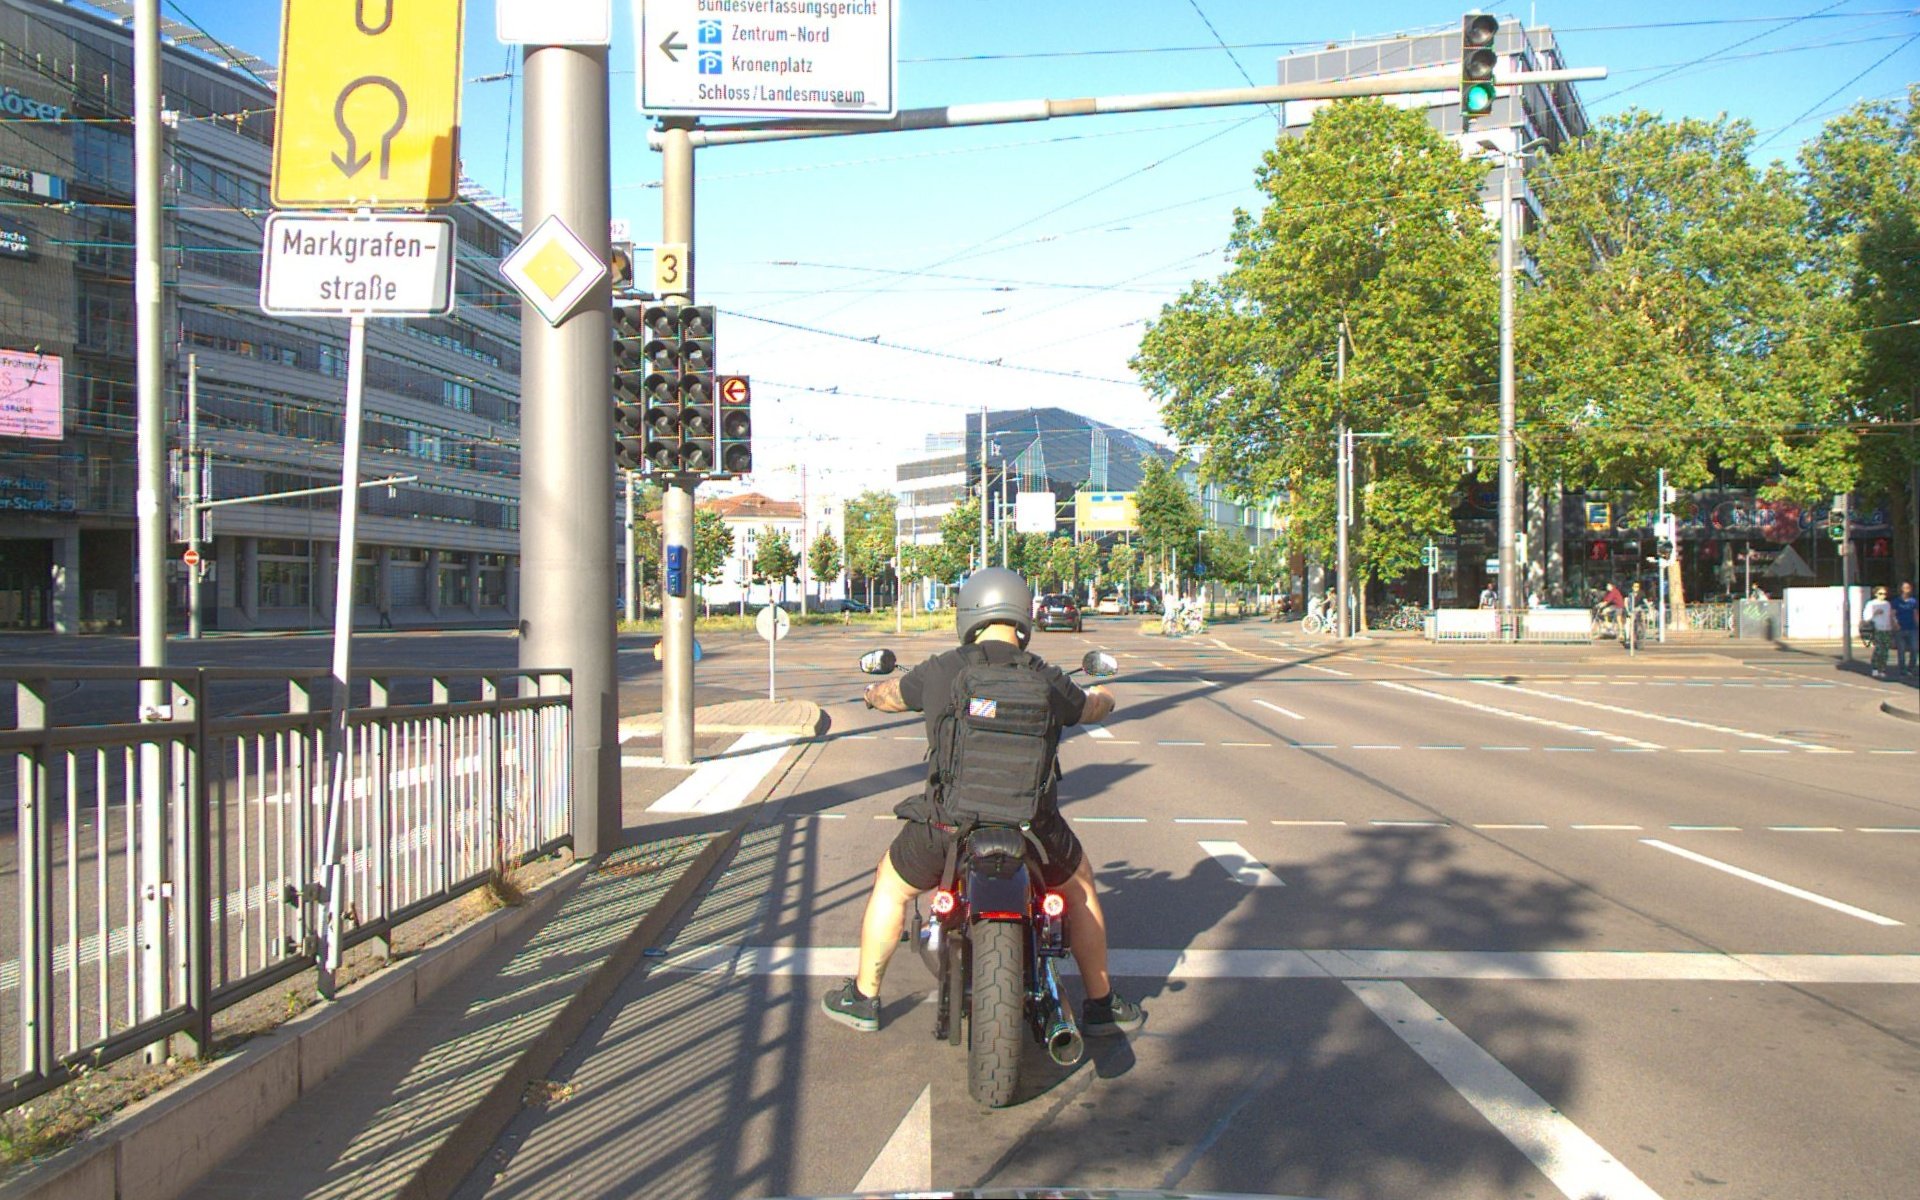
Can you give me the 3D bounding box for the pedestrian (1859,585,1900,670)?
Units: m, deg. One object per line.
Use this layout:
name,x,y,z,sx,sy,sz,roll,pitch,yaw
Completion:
pedestrian,17.136,0.511,30.830,0.554,1.559,0.702,1,-1,20

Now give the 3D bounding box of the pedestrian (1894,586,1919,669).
pedestrian,17.690,0.513,30.654,0.554,1.505,0.702,1,-1,20

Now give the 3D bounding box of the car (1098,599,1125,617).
car,12.328,0.624,134.491,1.765,1.455,4.457,0,0,12

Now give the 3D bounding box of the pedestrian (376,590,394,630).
pedestrian,-29.476,0.503,84.836,0.617,2.049,0.754,1,-1,-1

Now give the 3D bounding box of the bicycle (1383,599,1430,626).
bicycle,18.242,0.519,67.591,1.842,1.065,0.360,1,-1,-2

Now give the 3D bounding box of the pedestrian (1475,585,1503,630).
pedestrian,20.435,0.301,63.925,0.816,1.734,0.759,1,-1,-1

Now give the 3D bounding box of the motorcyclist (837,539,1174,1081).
motorcyclist,0.131,0.626,5.404,1.009,1.621,0.873,0,0,-1

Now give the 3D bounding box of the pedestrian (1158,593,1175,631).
pedestrian,8.625,0.488,69.105,0.576,1.584,0.488,1,-1,-9

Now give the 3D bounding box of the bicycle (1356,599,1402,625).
bicycle,17.970,0.528,70.909,1.842,1.064,0.360,1,0,-2

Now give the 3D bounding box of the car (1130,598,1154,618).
car,16.069,0.718,146.086,1.765,1.708,4.044,1,-1,11

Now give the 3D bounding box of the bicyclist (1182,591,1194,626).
bicyclist,9.269,0.358,67.233,0.374,1.397,0.344,1,-1,-9

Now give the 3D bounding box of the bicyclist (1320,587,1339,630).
bicyclist,14.593,0.347,65.387,0.673,1.702,0.541,0,-1,18

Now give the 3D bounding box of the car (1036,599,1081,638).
car,4.351,0.786,72.493,1.765,1.623,4.456,0,0,6

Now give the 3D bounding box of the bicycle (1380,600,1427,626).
bicycle,18.271,0.537,68.148,1.842,1.064,0.360,1,0,-2

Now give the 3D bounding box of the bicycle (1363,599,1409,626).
bicycle,17.960,0.526,69.757,1.842,1.064,0.360,1,0,-2

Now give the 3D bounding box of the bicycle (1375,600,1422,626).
bicycle,18.229,0.541,68.779,1.842,1.065,0.360,1,-1,-2

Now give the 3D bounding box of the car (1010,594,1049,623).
car,3.623,0.406,85.607,1.765,1.455,4.456,0,0,5

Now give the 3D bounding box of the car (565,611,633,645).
car,-17.068,1.332,78.324,1.712,1.550,4.003,1,-1,11

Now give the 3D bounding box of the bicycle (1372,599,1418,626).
bicycle,18.214,0.533,69.265,1.842,1.064,0.360,1,0,-2

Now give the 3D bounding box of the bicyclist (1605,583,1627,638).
bicyclist,22.576,0.372,56.921,0.572,1.870,0.402,1,-1,-1

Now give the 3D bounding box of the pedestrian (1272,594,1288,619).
pedestrian,17.573,0.367,90.908,0.802,1.337,0.638,1,-1,8

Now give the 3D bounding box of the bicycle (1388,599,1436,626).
bicycle,18.257,0.498,66.777,1.842,1.065,0.360,1,-1,-2

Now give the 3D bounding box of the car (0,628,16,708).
car,-14.535,0.903,22.422,2.835,1.081,1.235,1,-1,-22

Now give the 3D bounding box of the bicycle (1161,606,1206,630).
bicycle,9.070,0.721,67.202,1.792,0.942,0.357,1,-1,-9

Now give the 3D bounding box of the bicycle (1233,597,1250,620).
bicycle,17.499,0.538,103.009,0.710,1.391,2.918,1,-1,3

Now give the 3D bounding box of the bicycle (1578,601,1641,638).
bicycle,22.353,0.682,56.914,2.001,1.235,0.421,1,-1,-1

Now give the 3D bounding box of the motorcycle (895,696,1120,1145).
motorcycle,0.112,0.926,5.558,0.588,1.054,2.233,1,0,-1

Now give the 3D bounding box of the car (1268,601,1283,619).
car,33.597,1.082,176.110,1.497,1.870,3.578,1,-1,12

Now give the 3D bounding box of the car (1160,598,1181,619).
car,19.958,0.805,156.556,1.692,1.870,3.578,1,-1,12

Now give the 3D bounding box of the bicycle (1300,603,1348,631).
bicycle,14.399,0.670,65.447,1.831,1.062,0.537,0,-1,18

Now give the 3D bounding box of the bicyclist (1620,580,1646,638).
bicyclist,18.182,0.247,44.707,0.553,1.545,0.634,1,-1,14

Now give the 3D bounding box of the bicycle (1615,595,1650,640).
bicycle,18.171,0.483,44.747,0.554,1.199,2.331,1,-1,14

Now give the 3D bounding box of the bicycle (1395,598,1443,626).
bicycle,18.310,0.480,65.996,1.842,1.065,0.360,1,-1,-2

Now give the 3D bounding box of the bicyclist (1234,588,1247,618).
bicyclist,17.514,0.191,103.213,0.682,1.840,0.729,1,-1,3
